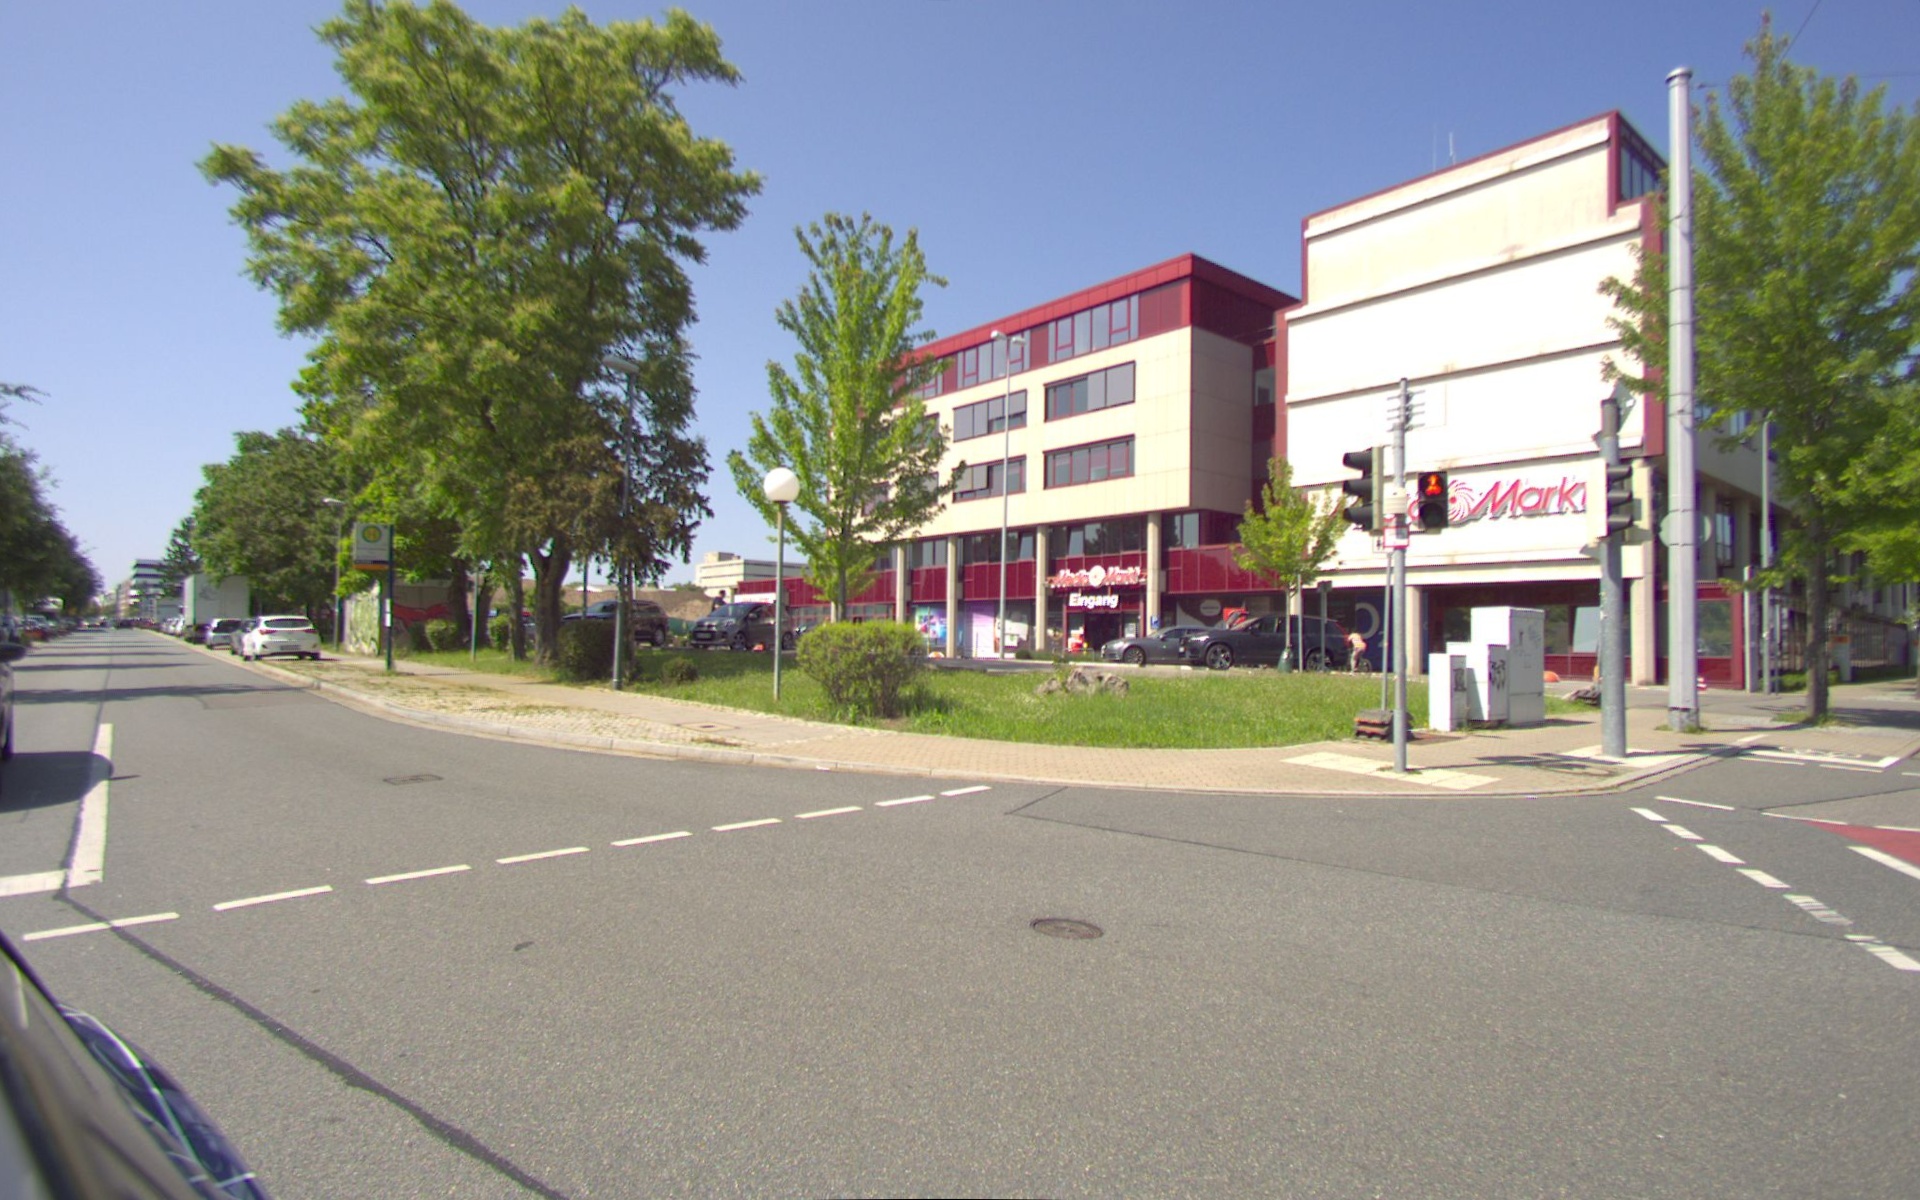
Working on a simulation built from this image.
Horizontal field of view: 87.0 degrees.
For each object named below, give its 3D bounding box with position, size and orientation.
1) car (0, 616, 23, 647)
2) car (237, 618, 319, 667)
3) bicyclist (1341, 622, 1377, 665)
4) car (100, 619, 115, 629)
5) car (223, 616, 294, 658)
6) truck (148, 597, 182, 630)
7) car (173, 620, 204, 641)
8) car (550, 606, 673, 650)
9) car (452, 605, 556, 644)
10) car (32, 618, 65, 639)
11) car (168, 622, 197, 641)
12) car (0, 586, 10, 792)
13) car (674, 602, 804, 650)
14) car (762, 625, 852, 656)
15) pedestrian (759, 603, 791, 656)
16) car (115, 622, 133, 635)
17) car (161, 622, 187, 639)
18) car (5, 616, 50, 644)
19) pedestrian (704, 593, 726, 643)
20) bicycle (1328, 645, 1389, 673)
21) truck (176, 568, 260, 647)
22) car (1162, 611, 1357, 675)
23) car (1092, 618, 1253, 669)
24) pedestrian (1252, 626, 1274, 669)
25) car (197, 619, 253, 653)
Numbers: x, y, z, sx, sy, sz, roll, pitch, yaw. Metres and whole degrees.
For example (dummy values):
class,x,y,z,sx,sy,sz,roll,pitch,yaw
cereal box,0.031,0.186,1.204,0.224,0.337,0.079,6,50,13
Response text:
class,x,y,z,sx,sy,sz,roll,pitch,yaw
car,-52.616,1.687,55.307,1.819,1.628,4.006,4,-4,-40
car,-22.429,1.354,33.239,1.739,1.504,4.005,0,-1,-41
bicyclist,13.698,1.481,34.747,0.711,1.459,0.924,0,0,-39
car,-144.466,4.078,171.488,1.737,1.807,4.008,2,-2,-38
car,-27.040,1.404,38.991,1.788,1.527,4.005,1,-2,-41
truck,-83.909,1.444,106.859,2.660,3.345,7.358,2,-2,-37
car,-58.565,2.323,76.806,1.787,1.527,4.007,0,-1,-39
car,-12.553,0.989,36.770,1.836,1.504,4.791,-1,-1,16
car,-21.985,1.225,49.013,1.984,1.818,4.687,-1,-3,19
car,-75.142,2.363,83.484,1.819,1.628,4.006,4,-4,-40
car,-65.588,2.668,85.357,1.787,1.527,4.007,0,-1,-39
car,-8.949,0.740,8.166,1.795,1.616,4.312,0,-2,-42
car,-6.584,0.768,30.544,1.710,1.348,3.952,-1,-1,28
car,-7.522,1.985,50.063,4.183,1.462,1.721,0,-2,2
pedestrian,-5.471,0.872,29.950,0.750,1.539,0.561,0,-2,16
car,-111.608,3.796,135.056,1.763,1.807,4.007,2,-2,-39
car,-73.735,2.880,94.912,1.787,1.527,4.007,0,-1,-39
car,-57.807,1.847,62.792,1.819,1.628,4.006,4,-4,-40
pedestrian,-7.666,0.575,31.656,0.555,1.539,0.759,1,-2,-19
bicycle,13.684,2.029,34.761,0.717,0.855,1.846,0,0,-39
truck,-42.685,0.512,58.089,3.303,4.175,9.293,1,-2,-40
car,8.820,1.301,30.083,5.039,1.606,2.189,3,-4,-3
car,6.817,1.406,32.834,4.804,1.504,1.917,1,-2,2
pedestrian,9.956,1.556,33.263,0.455,1.366,0.523,1,-2,-29
car,-34.789,1.686,47.862,1.788,1.527,4.005,0,-1,-41
